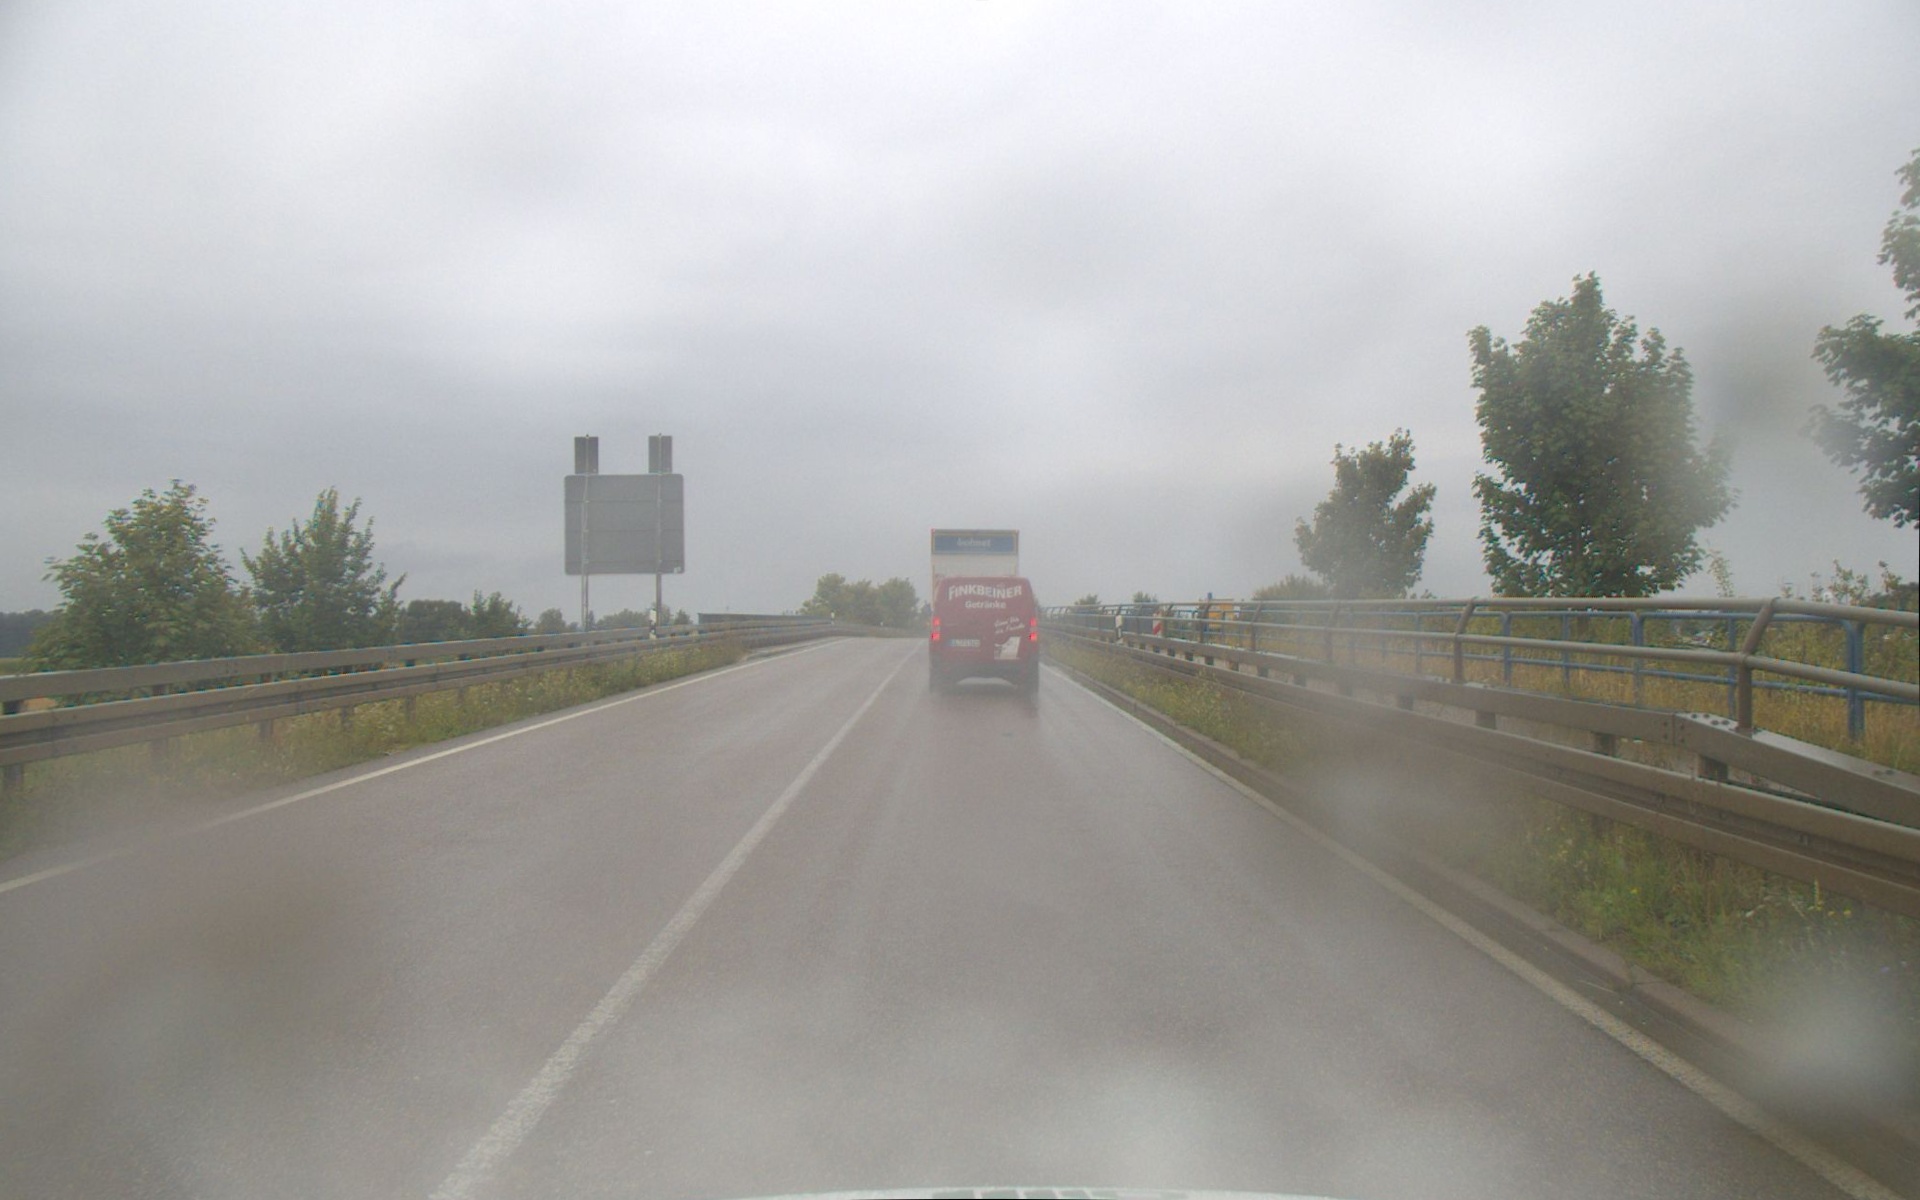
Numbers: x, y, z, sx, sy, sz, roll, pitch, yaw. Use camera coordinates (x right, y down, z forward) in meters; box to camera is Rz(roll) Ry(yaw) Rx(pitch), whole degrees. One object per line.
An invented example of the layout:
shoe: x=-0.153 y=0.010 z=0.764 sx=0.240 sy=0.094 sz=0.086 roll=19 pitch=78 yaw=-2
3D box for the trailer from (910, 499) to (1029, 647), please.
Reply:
trailer: x=0.371 y=-0.677 z=50.561 sx=3.135 sy=3.990 sz=8.740 roll=3 pitch=-1 yaw=1

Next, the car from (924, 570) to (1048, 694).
car: x=0.388 y=0.504 z=28.465 sx=1.953 sy=1.959 sz=4.142 roll=1 pitch=0 yaw=-1
